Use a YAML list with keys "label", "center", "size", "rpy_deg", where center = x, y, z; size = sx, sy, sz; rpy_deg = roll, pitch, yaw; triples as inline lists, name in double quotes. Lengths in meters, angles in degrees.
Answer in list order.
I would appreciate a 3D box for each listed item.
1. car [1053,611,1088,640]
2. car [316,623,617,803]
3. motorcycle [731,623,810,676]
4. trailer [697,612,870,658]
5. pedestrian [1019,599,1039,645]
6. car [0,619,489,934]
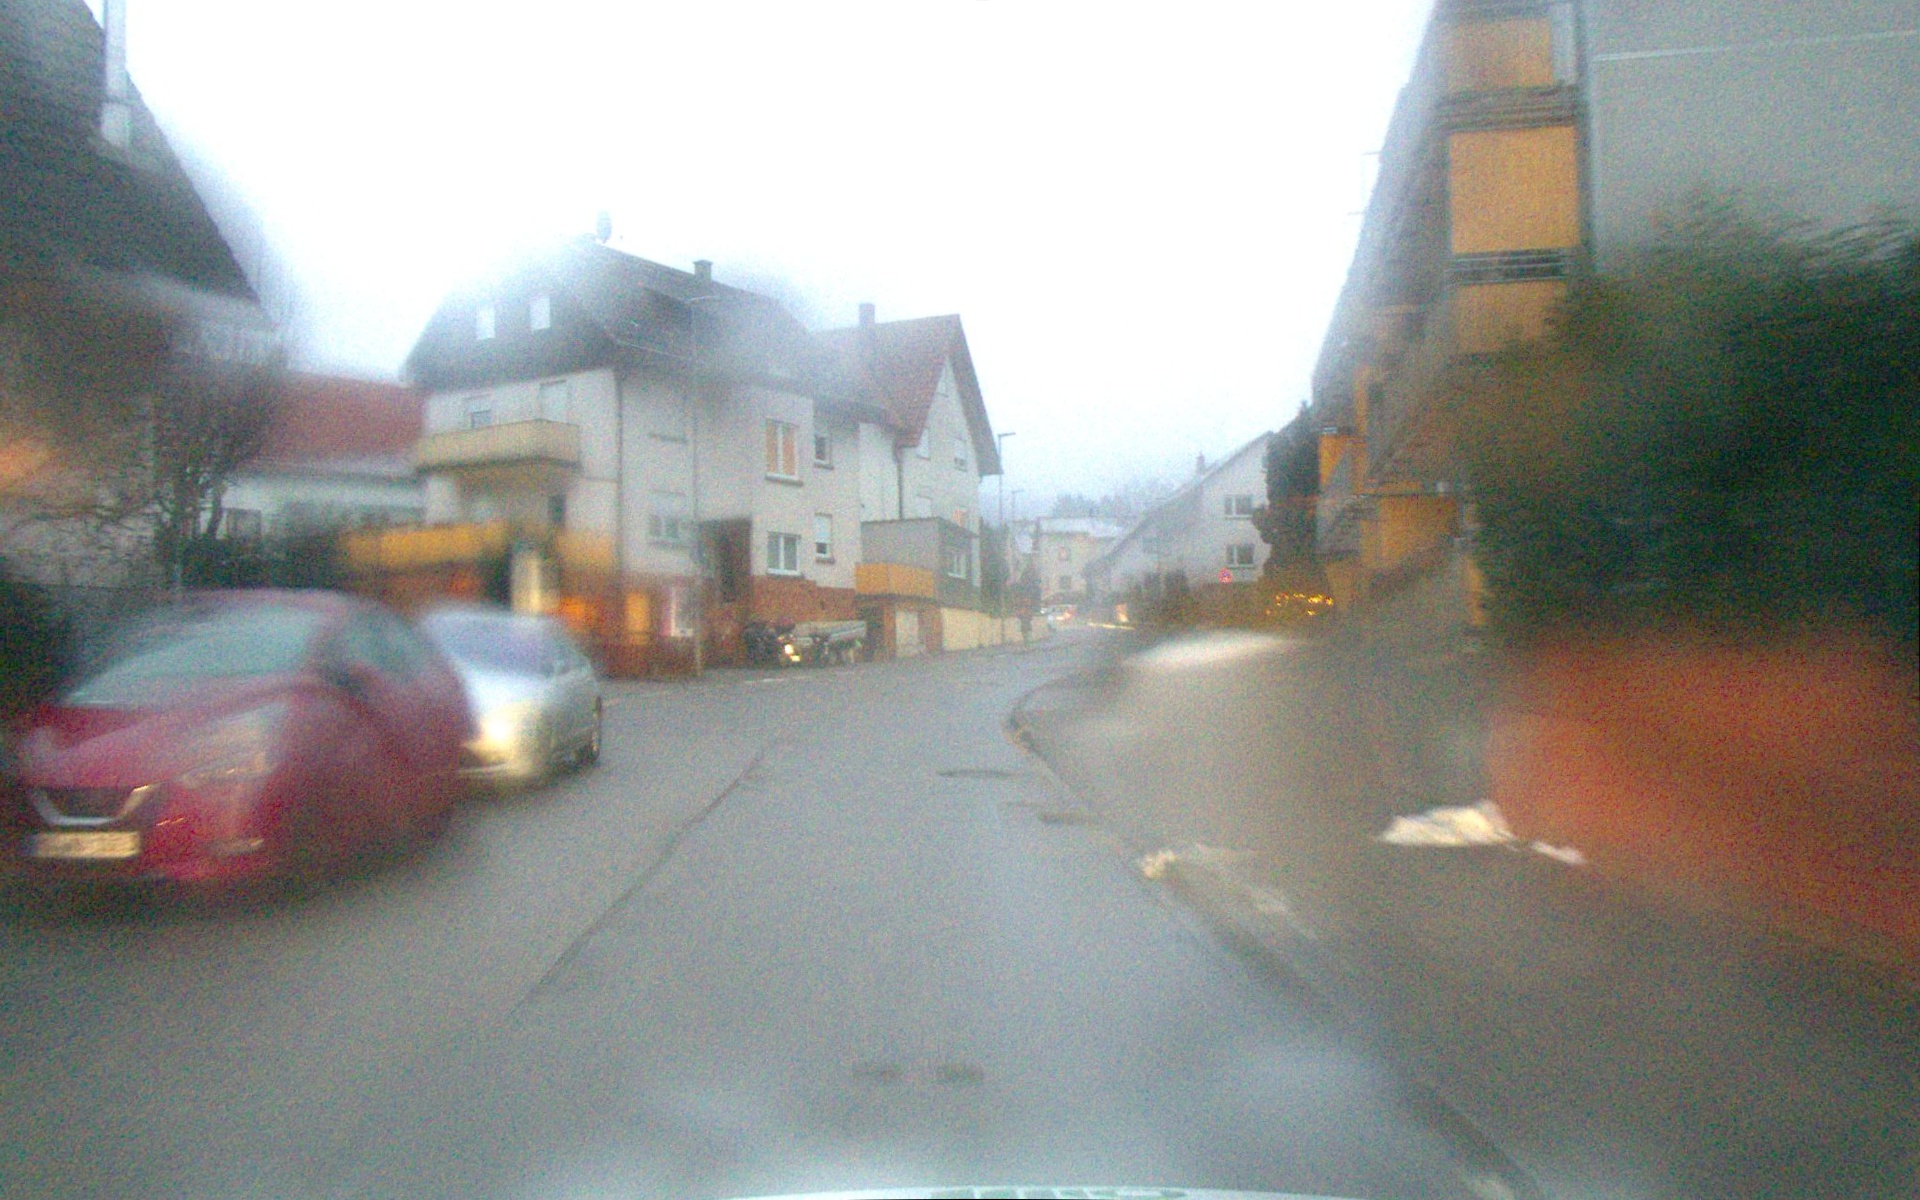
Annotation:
- label: "car"
  center: [8.480, 1.941, 126.216]
  size: [2.065, 2.062, 4.987]
  rpy_deg: [-2, -1, 10]
- label: "car"
  center: [-4.381, 0.933, 15.333]
  size: [1.714, 1.413, 4.144]
  rpy_deg: [0, 0, -3]
- label: "motorcycle"
  center: [-4.923, 1.255, 42.799]
  size: [1.046, 1.321, 2.208]
  rpy_deg: [1, -1, -38]
- label: "trailer"
  center: [-4.761, 0.990, 45.282]
  size: [2.023, 1.189, 4.850]
  rpy_deg: [-1, -2, 35]
- label: "pedestrian"
  center: [2.633, 0.857, 63.445]
  size: [0.585, 1.763, 0.812]
  rpy_deg: [0, -2, 17]
- label: "car"
  center: [-4.203, 0.859, 9.863]
  size: [1.787, 1.466, 4.065]
  rpy_deg: [0, 0, -3]
